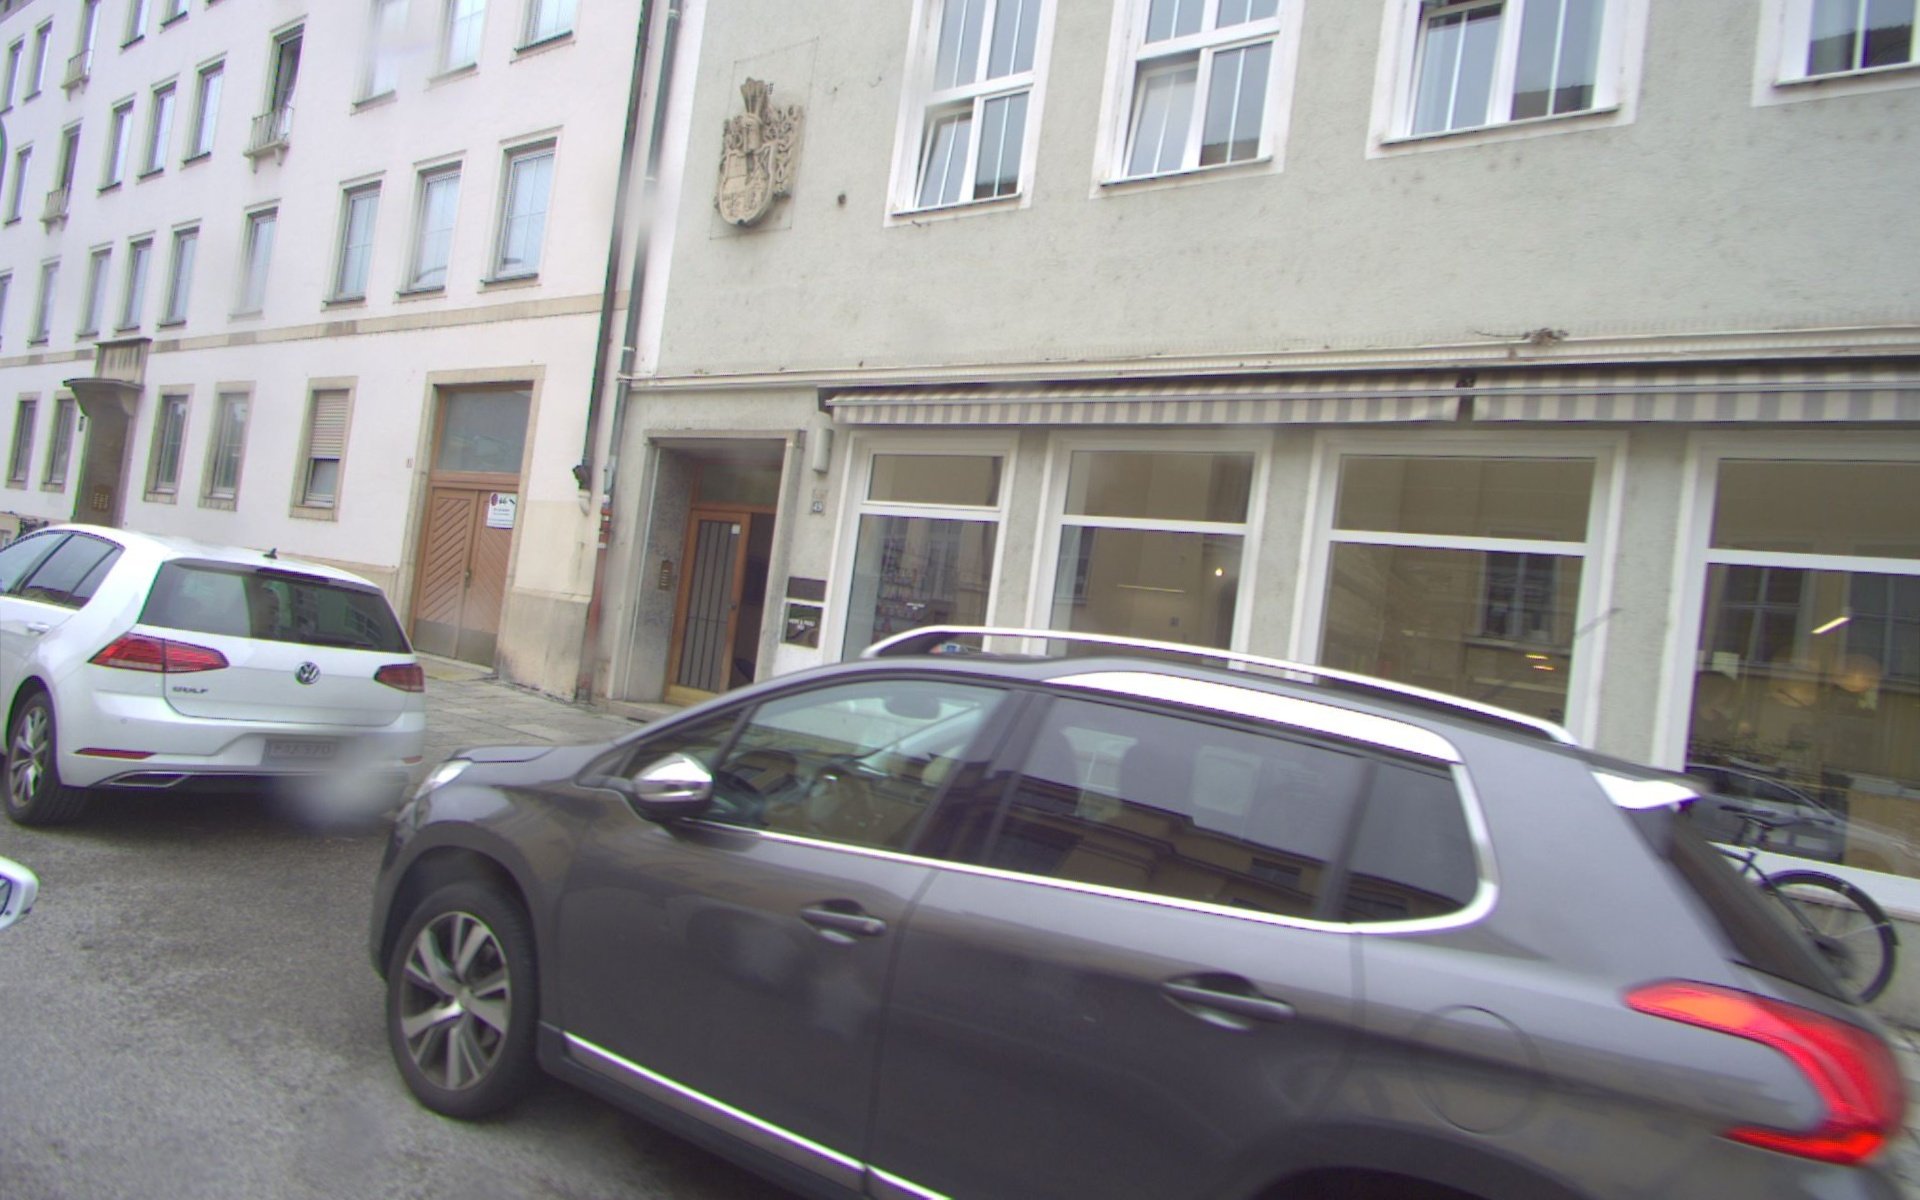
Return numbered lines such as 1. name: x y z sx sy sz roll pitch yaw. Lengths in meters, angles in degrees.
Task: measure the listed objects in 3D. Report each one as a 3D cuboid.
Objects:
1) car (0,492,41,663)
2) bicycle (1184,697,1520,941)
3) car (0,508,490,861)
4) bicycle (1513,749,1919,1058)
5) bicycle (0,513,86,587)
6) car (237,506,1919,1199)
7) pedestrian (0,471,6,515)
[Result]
1. car: -11.063 -0.503 9.855 4.633 1.538 1.844 6 -4 34
2. bicycle: 2.544 1.371 6.664 1.917 1.171 0.385 7 -1 32
3. car: -5.078 0.310 6.218 4.456 1.444 1.677 6 -4 33
4. bicycle: 4.073 1.547 5.425 1.785 1.190 0.396 6 -2 32
5. bicycle: -18.083 -0.990 19.782 1.953 1.236 0.514 7 -1 26
6. car: 0.044 0.826 2.954 4.287 1.609 1.712 7 -3 29
7. pedestrian: -18.183 -1.525 18.389 0.890 1.783 0.724 4 -3 33
